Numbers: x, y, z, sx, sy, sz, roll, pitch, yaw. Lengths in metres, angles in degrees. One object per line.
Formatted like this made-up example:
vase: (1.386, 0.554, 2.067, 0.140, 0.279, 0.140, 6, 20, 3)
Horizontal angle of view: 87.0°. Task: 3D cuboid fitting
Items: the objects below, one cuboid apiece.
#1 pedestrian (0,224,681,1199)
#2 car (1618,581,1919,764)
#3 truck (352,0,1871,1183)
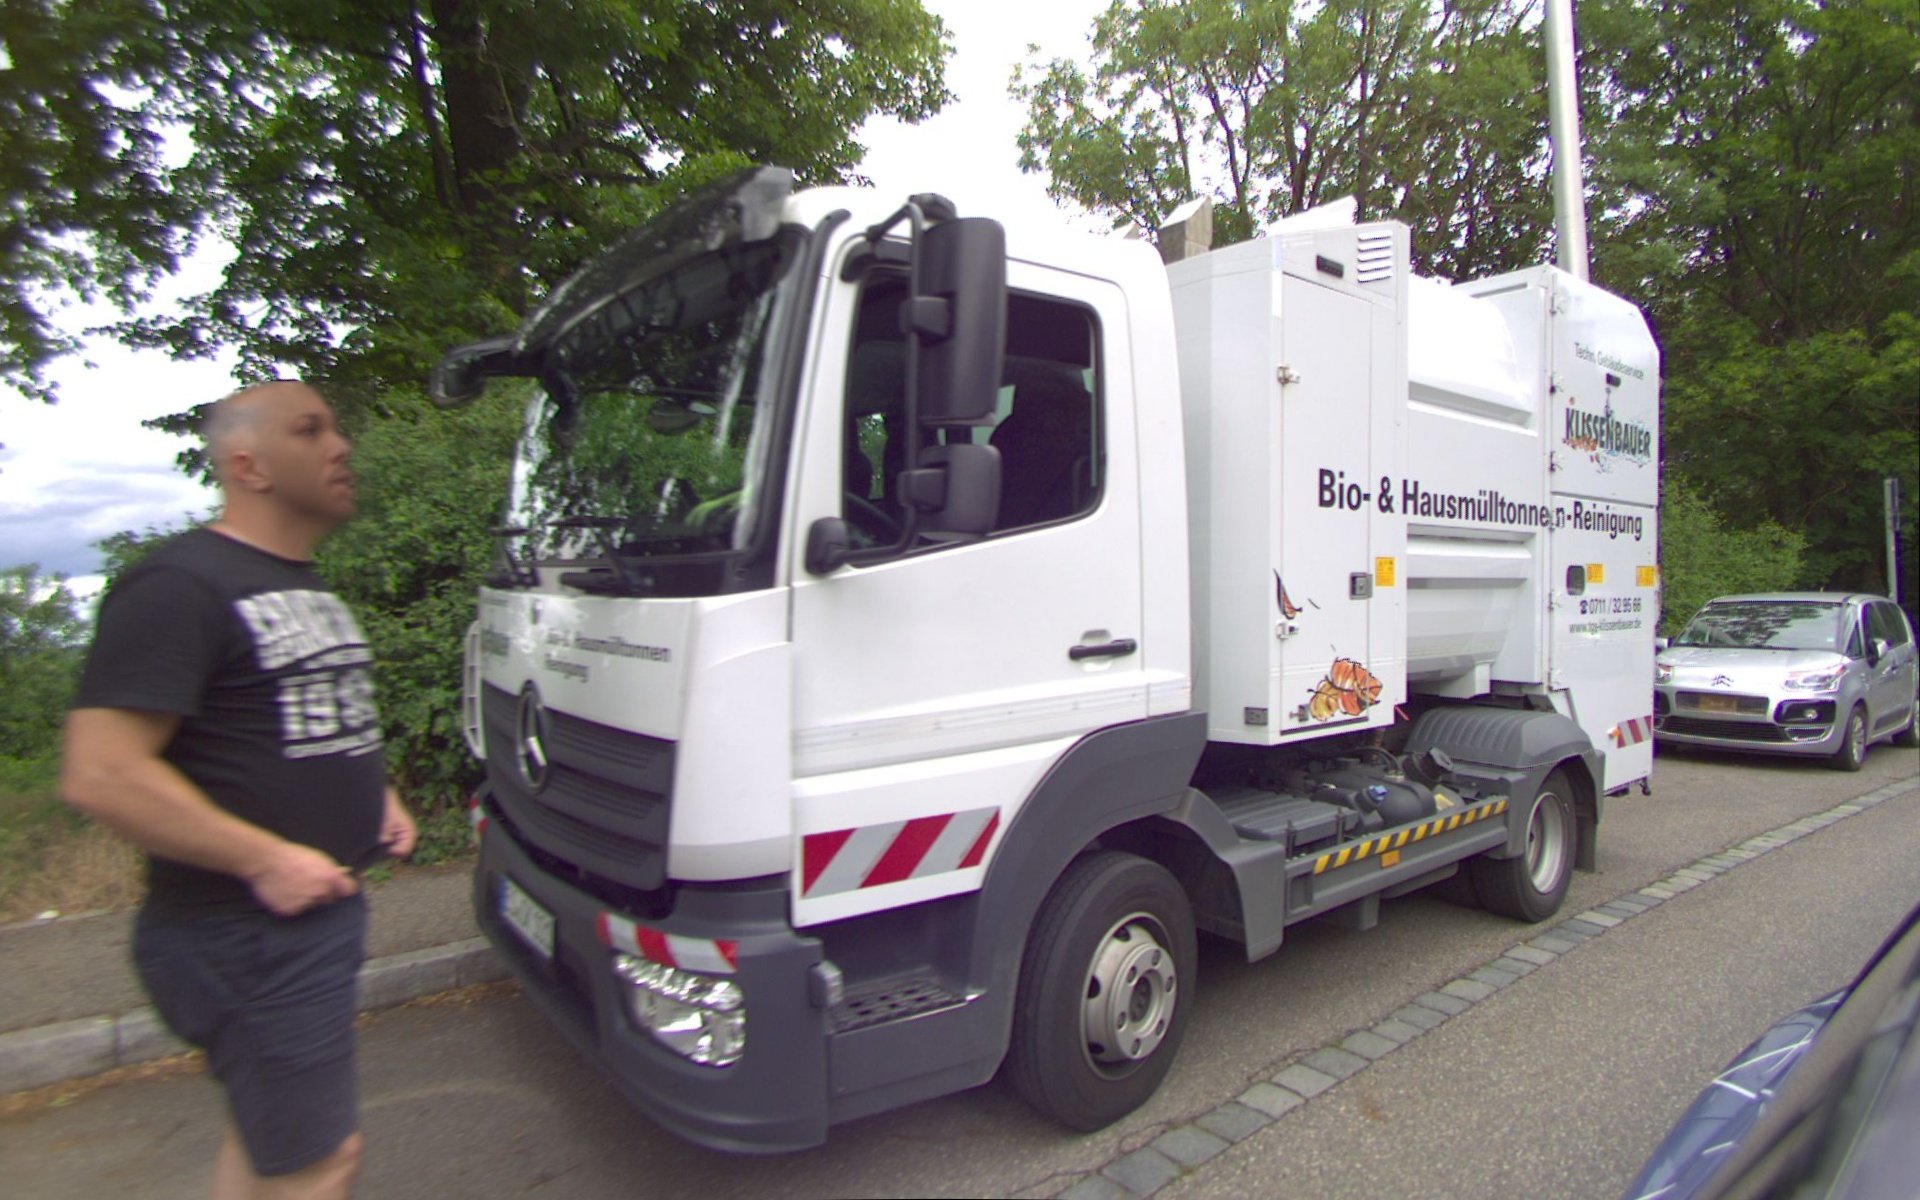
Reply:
pedestrian: (-1.169, 0.486, 1.819, 0.965, 1.859, 0.918, 0, -13, -35)
car: (8.628, 0.593, 10.447, 3.925, 1.544, 1.808, 0, 1, -36)
truck: (1.222, -0.386, 4.962, 7.082, 3.223, 2.492, -1, -2, -29)
